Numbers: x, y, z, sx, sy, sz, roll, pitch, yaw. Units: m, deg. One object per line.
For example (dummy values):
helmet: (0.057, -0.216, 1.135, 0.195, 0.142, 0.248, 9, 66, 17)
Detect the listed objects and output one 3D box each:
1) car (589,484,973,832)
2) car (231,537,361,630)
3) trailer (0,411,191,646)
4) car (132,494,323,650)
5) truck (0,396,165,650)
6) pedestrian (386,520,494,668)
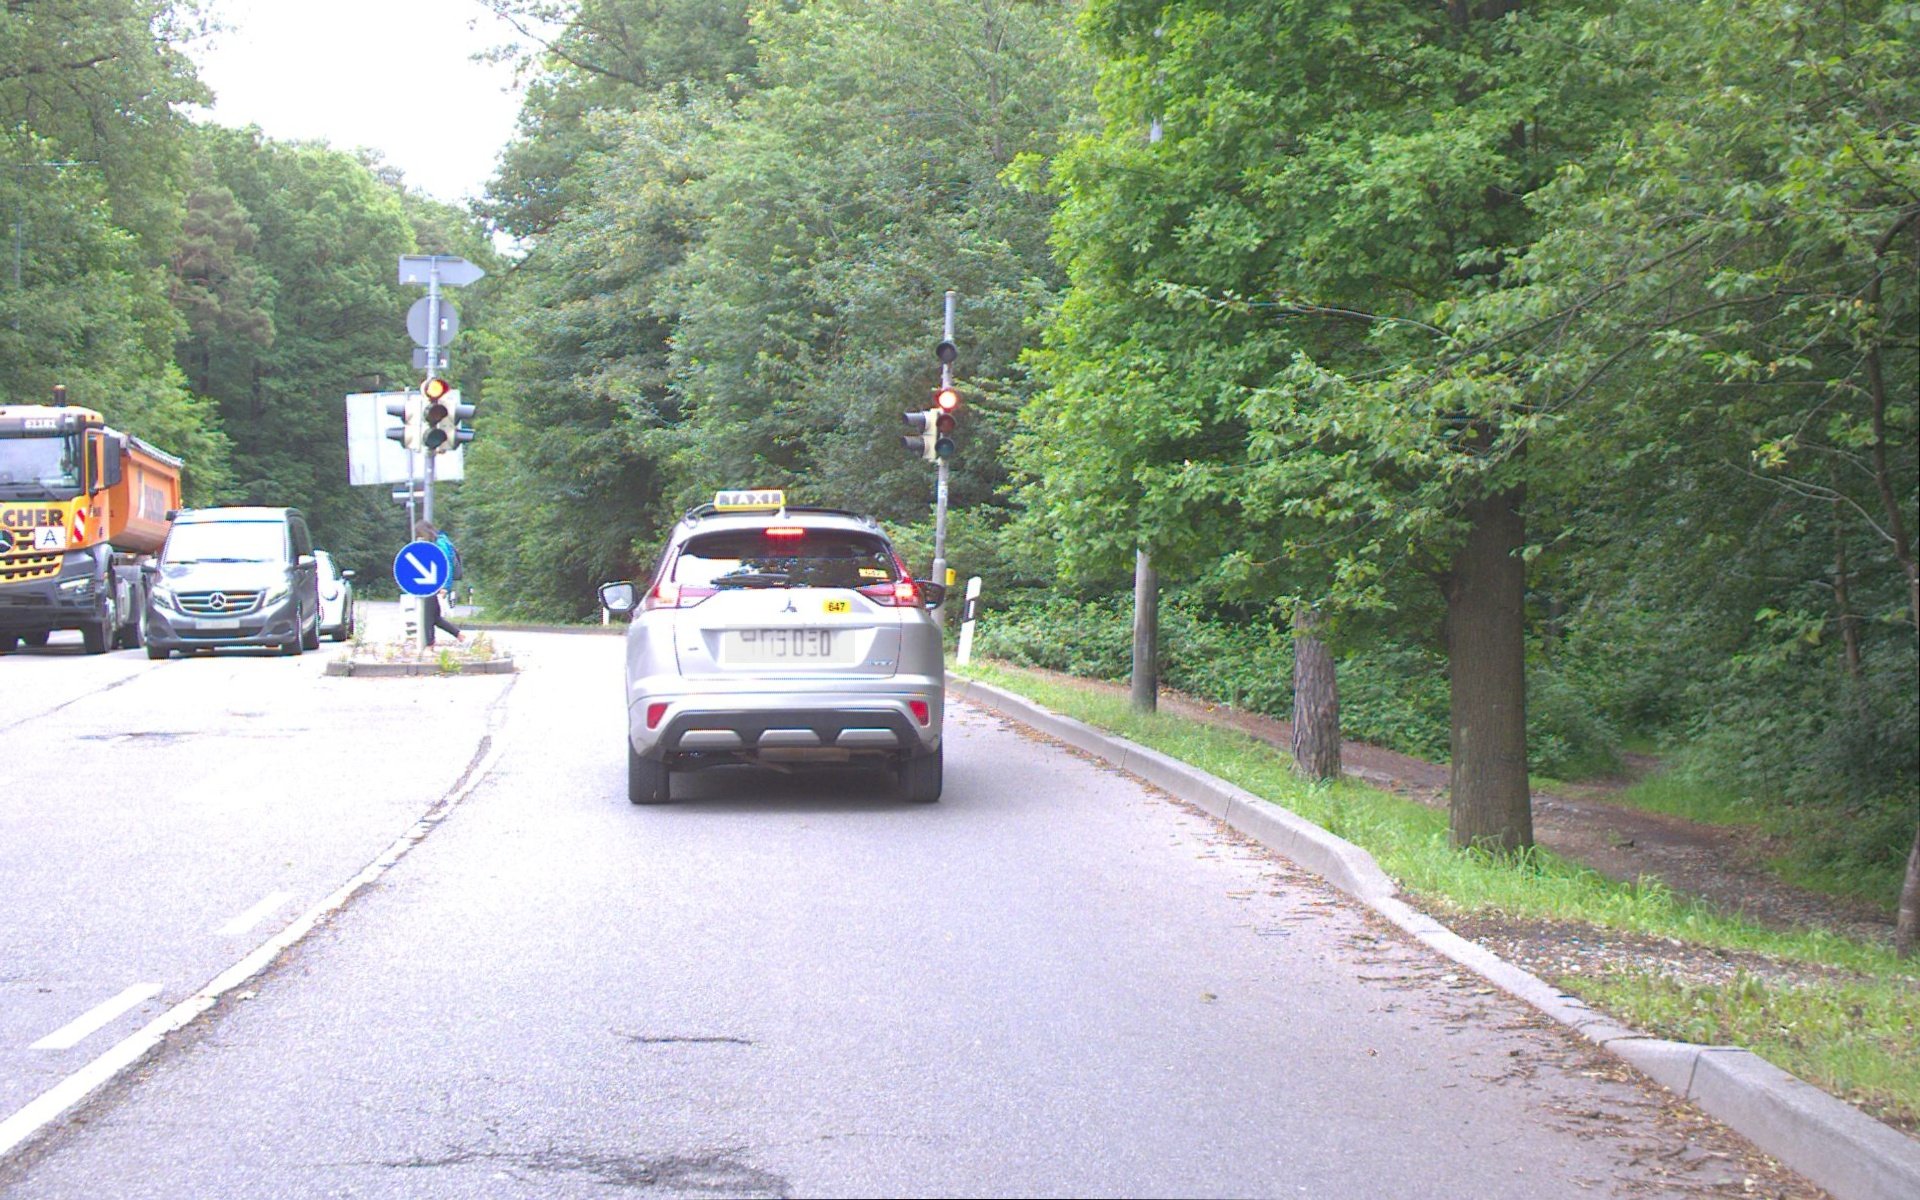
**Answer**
car: (-0.960, 0.249, 20.537, 1.847, 1.774, 4.000, 3, 2, 2)
car: (-10.365, -0.284, 53.851, 1.612, 1.317, 3.722, -2, 2, -6)
trailer: (-13.587, -1.033, 52.982, 2.738, 3.307, 8.571, -1, 0, -9)
car: (-9.483, -0.373, 44.827, 1.993, 1.887, 4.840, -1, 1, -7)
truck: (-12.890, -1.016, 48.336, 2.738, 3.307, 7.161, -1, 0, -9)
pedestrian: (-5.877, -0.083, 38.907, 1.047, 1.643, 1.069, 0, 2, 0)
